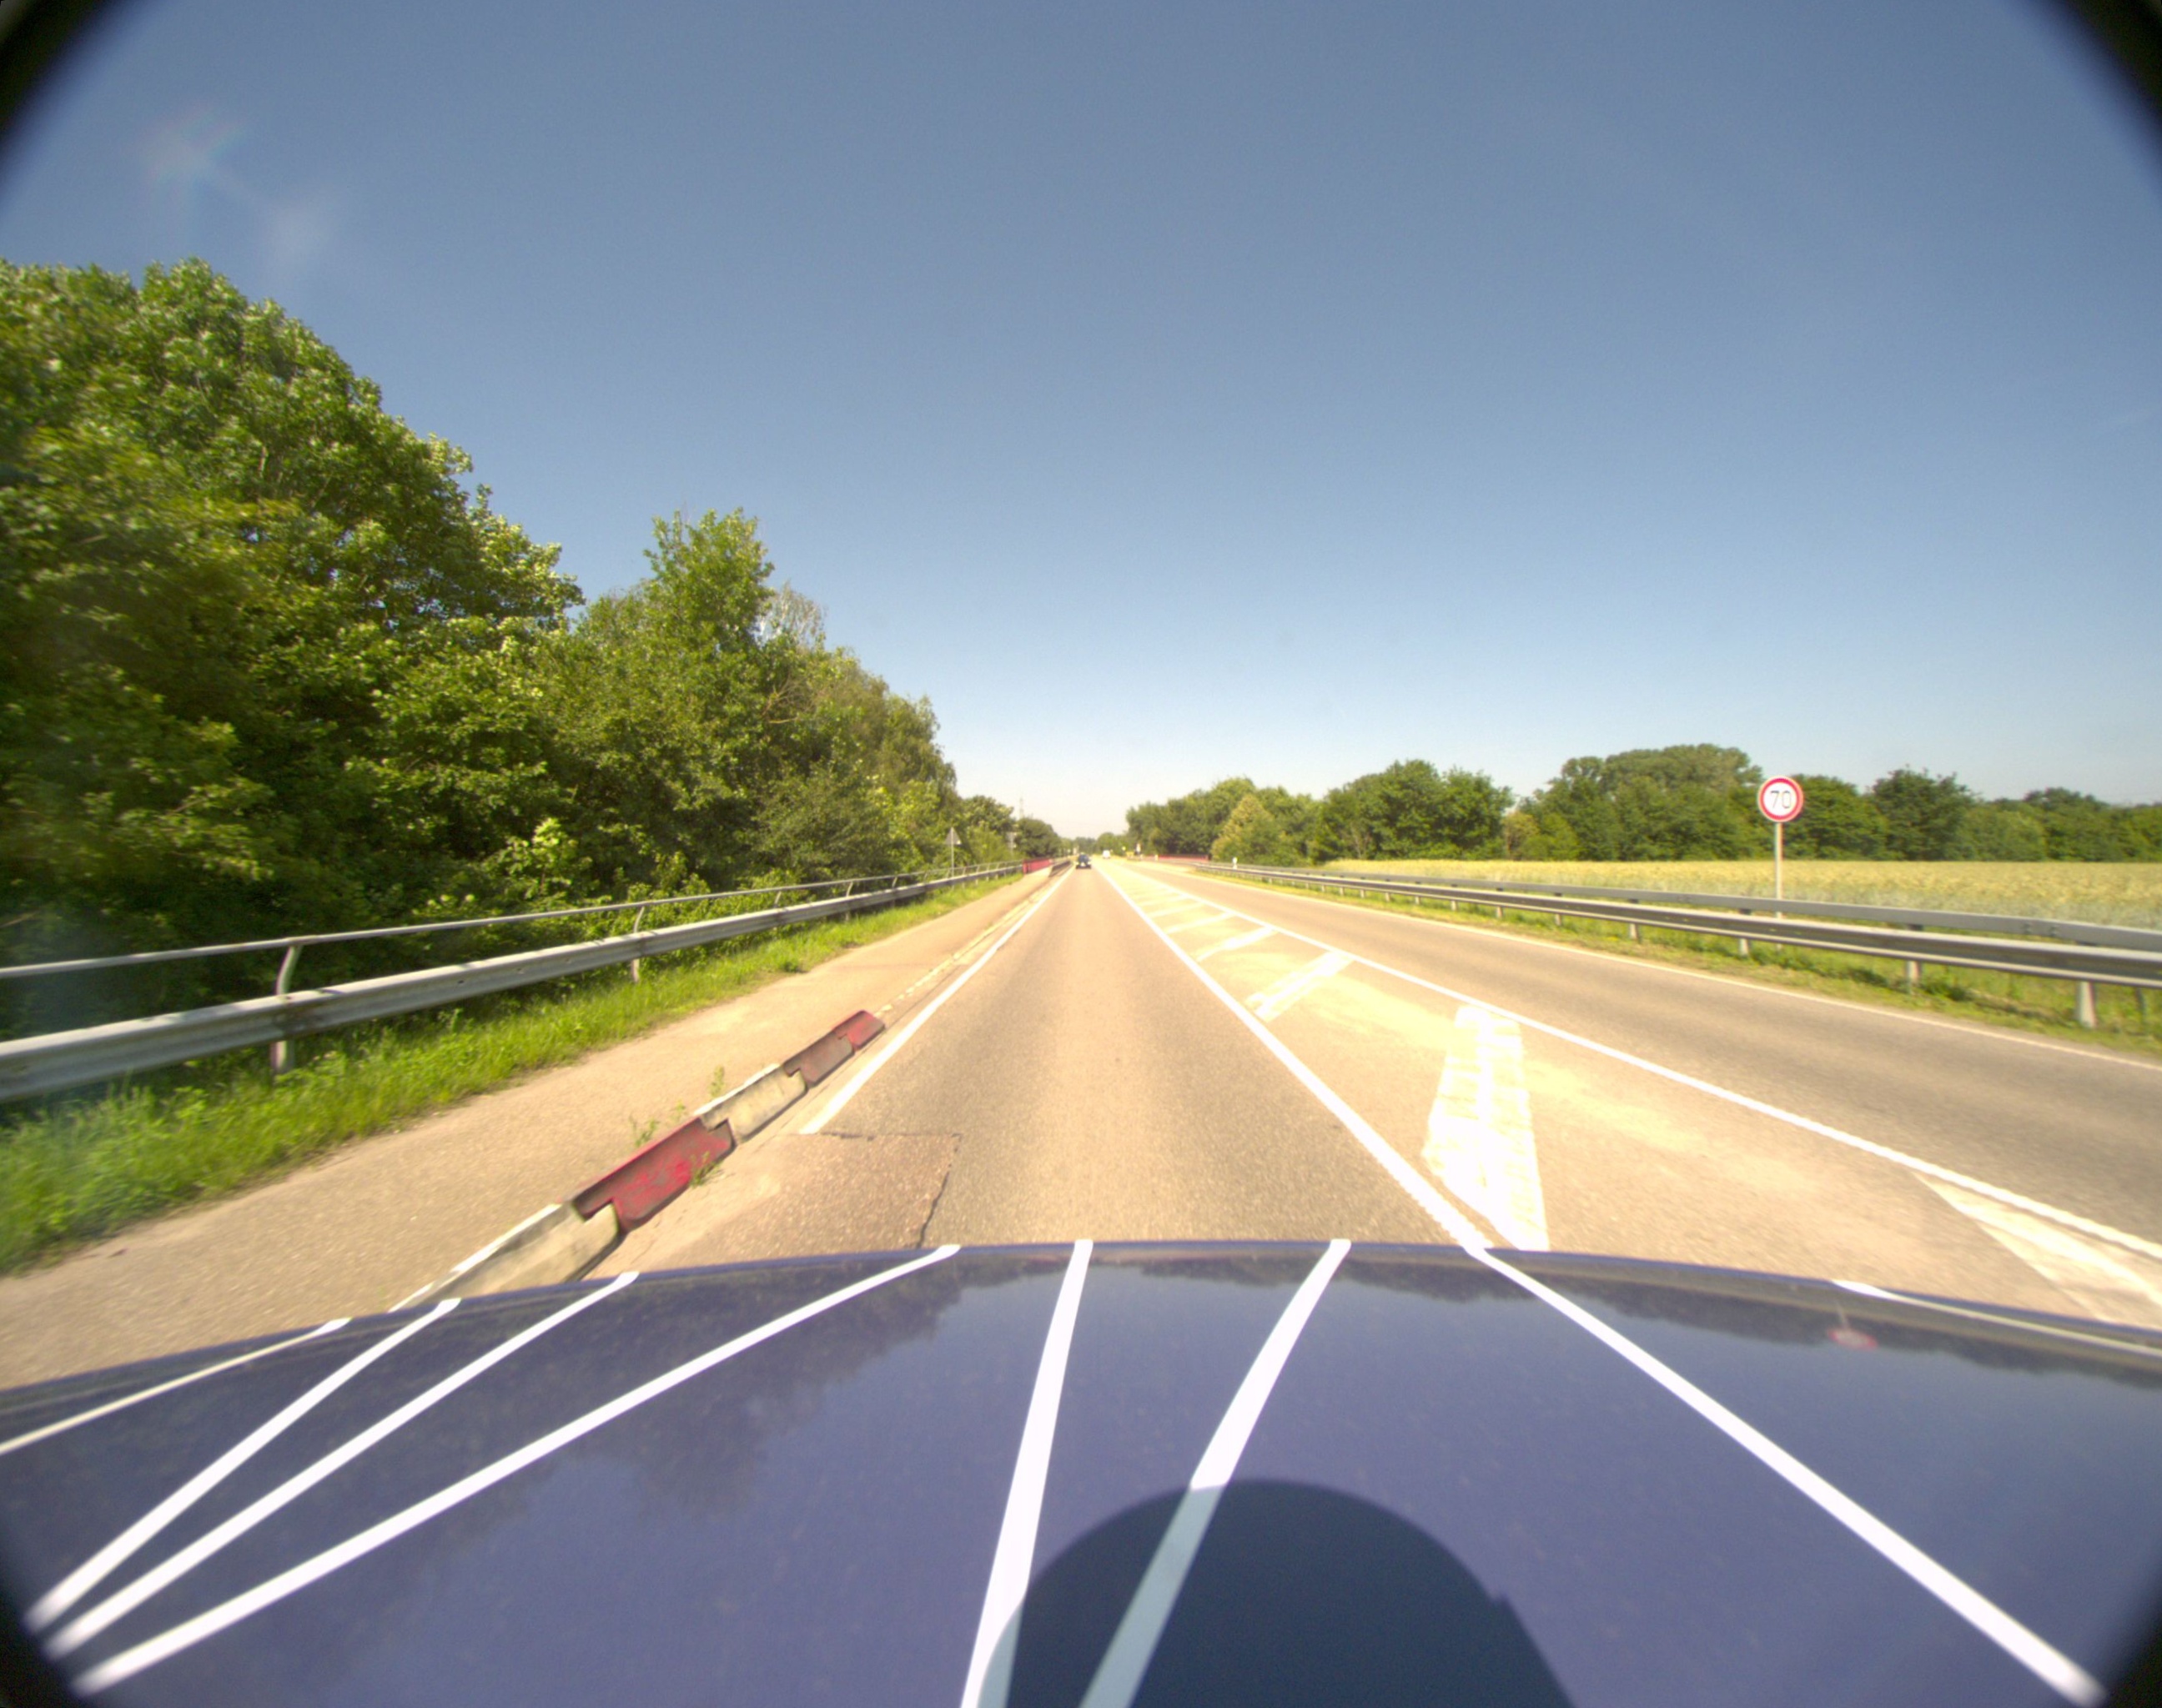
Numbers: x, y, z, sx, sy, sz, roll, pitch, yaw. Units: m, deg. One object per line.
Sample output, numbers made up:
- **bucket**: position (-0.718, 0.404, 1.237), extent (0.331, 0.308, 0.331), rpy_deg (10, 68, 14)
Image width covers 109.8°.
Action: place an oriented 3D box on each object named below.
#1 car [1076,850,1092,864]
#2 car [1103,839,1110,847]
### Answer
- **car**: position (0.382, 0.307, 87.403), extent (1.806, 1.390, 4.179), rpy_deg (-1, 2, 1)
- **car**: position (7.675, -3.260, 229.037), extent (1.895, 2.214, 7.230), rpy_deg (-1, 2, 2)
